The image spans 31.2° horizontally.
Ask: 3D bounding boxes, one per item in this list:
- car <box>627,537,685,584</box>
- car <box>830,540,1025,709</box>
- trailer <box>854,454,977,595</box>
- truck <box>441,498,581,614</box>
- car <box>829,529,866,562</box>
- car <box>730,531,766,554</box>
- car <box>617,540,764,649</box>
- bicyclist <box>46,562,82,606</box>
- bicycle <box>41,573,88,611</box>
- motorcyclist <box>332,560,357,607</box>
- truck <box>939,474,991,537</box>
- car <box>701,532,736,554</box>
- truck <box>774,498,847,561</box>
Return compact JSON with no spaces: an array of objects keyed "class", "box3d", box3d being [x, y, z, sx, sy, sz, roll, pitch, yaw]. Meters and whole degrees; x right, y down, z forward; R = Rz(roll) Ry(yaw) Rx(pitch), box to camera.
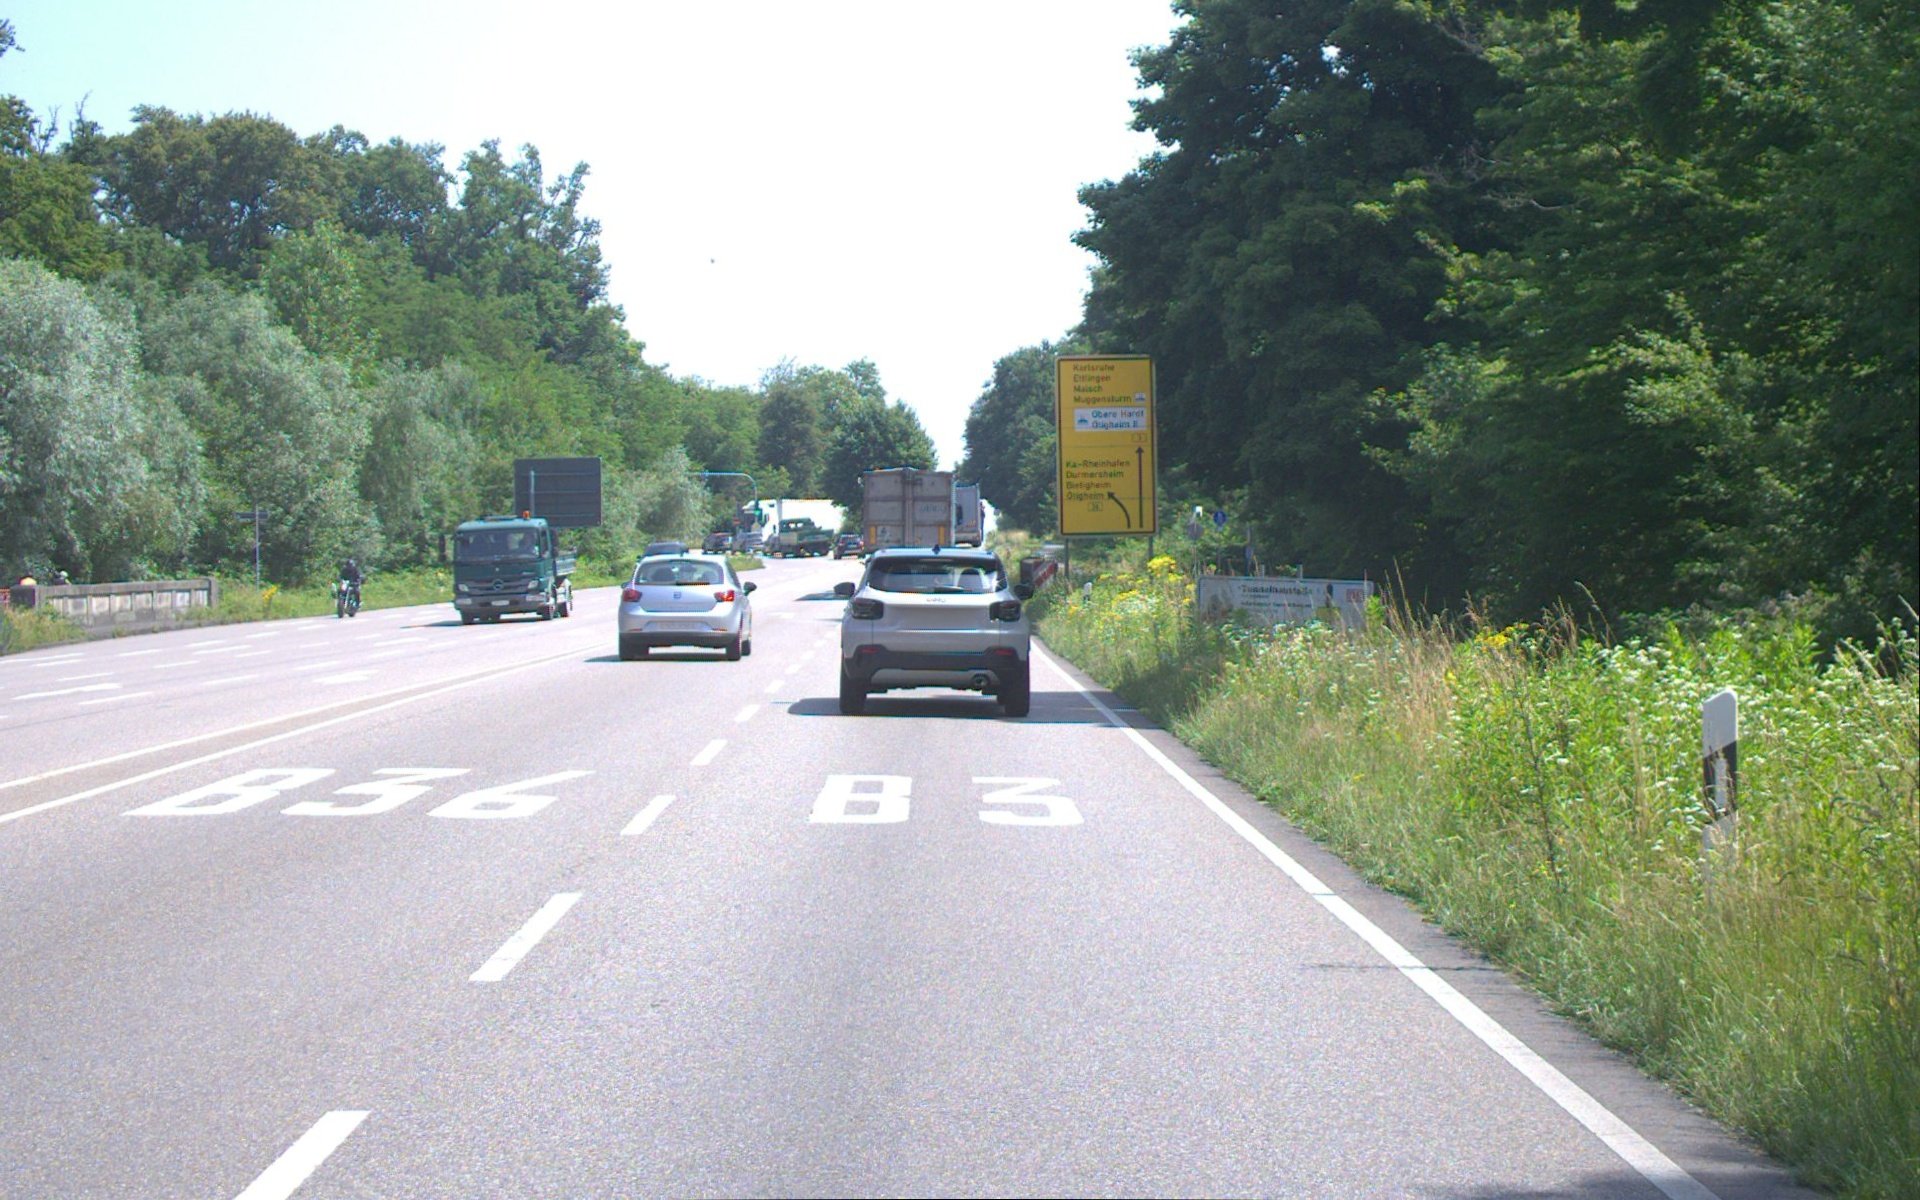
[{"class":"car","box3d":[-12.669,-1.662,143.519,1.993,1.875,4.960,-1,1,-1]},{"class":"car","box3d":[-0.267,0.190,33.085,1.767,1.529,4.000,0,1,1]},{"class":"trailer","box3d":[-1.243,-2.202,103.599,3.383,3.975,10.804,1,0,1]},{"class":"truck","box3d":[-11.118,-1.116,85.613,2.454,2.647,6.491,-3,1,1]},{"class":"car","box3d":[-7.022,-3.434,214.945,1.993,2.007,4.554,-1,1,-5]},{"class":"car","box3d":[-15.528,-4.202,251.542,1.993,1.579,4.001,1,0,-14]},{"class":"car","box3d":[-3.680,-0.099,47.489,1.666,1.425,3.828,1,1,1]},{"class":"bicyclist","box3d":[-24.871,-0.457,95.403,0.735,1.191,0.591,-2,0,11]},{"class":"bicycle","box3d":[-24.844,-0.223,95.392,0.604,1.002,1.555,-2,0,11]},{"class":"motorcyclist","box3d":[-18.026,-0.489,100.747,0.577,1.349,0.754,-1,0,-2]},{"class":"truck","box3d":[0.310,-6.581,241.137,3.497,4.173,10.784,1,0,0]},{"class":"car","box3d":[-18.297,-4.313,260.386,1.993,1.579,4.001,1,0,-14]},{"class":"truck","box3d":[-10.254,-4.771,234.451,3.645,4.091,9.512,-2,1,-10]}]
